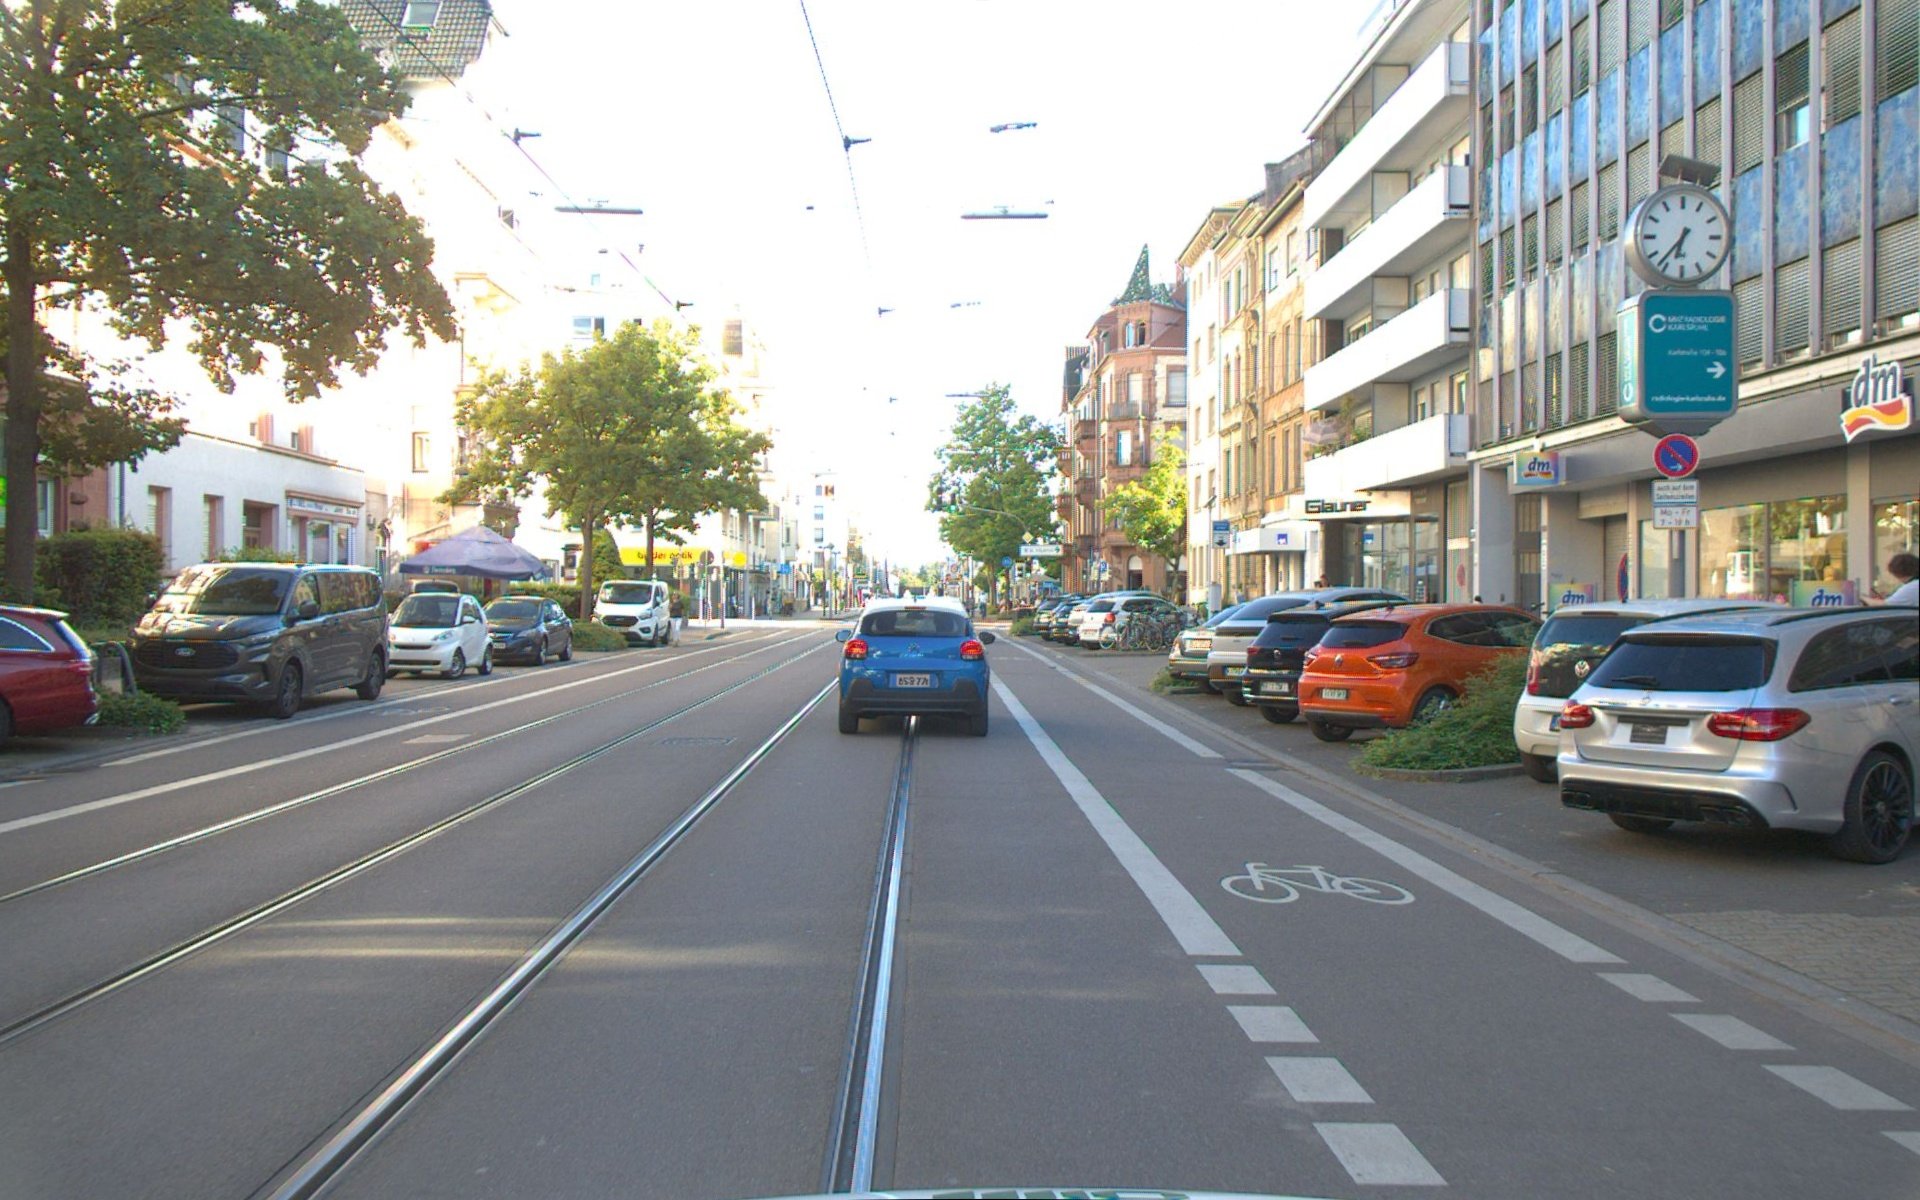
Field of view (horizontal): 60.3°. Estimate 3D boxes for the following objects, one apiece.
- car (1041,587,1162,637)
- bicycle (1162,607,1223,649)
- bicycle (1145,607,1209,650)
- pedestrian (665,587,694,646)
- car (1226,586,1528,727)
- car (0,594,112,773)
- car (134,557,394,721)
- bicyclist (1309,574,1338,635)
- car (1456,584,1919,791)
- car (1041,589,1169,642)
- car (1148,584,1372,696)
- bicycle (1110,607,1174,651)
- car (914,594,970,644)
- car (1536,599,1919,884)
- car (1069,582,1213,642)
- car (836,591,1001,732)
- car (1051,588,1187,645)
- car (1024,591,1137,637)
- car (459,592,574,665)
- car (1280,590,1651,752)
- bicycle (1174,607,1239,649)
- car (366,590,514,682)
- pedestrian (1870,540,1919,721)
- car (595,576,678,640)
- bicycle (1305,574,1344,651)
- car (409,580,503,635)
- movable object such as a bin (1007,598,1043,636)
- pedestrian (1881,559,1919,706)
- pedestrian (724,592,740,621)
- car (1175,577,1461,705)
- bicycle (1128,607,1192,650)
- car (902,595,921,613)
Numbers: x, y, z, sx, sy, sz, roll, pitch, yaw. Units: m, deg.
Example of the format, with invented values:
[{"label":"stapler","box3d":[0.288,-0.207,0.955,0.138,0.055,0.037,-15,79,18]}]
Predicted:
[{"label":"car","box3d":[4.725,0.392,55.294,3.601,1.601,1.850,1,0,-21]},{"label":"bicycle","box3d":[6.048,0.726,43.061,0.464,1.066,1.784,1,0,-37]},{"label":"bicycle","box3d":[5.601,0.728,42.725,0.549,1.066,1.785,1,0,-36]},{"label":"pedestrian","box3d":[-8.545,0.499,50.396,0.720,1.756,0.623,1,-1,-25]},{"label":"car","box3d":[5.152,0.658,20.365,3.409,1.582,1.804,1,0,-33]},{"label":"car","box3d":[-10.216,0.752,15.682,3.672,1.651,1.777,1,0,-23]},{"label":"car","box3d":[-9.479,0.490,23.030,1.713,2.008,5.236,1,0,-4]},{"label":"bicyclist","box3d":[9.941,0.129,45.247,0.717,1.651,0.529,1,-1,4]},{"label":"car","box3d":[6.165,0.662,13.861,3.735,1.513,1.819,1,0,-31]},{"label":"car","box3d":[4.558,0.494,52.118,3.601,1.601,1.850,1,0,-21]},{"label":"car","box3d":[4.797,0.609,26.293,3.417,1.668,1.662,1,0,-38]},{"label":"bicycle","box3d":[4.603,0.725,41.967,0.549,1.066,1.785,1,0,-36]},{"label":"car","box3d":[-0.619,0.624,56.819,1.835,1.624,3.999,1,0,-1]},{"label":"car","box3d":[5.837,0.794,10.735,4.394,1.534,1.520,1,0,-31]},{"label":"car","box3d":[5.045,0.354,46.011,3.615,1.601,1.842,1,0,-30]},{"label":"car","box3d":[-0.476,0.653,19.217,1.727,1.466,3.556,1,0,-1]},{"label":"car","box3d":[4.724,0.494,49.128,3.601,1.601,1.850,1,0,-21]},{"label":"car","box3d":[4.276,0.507,58.670,3.601,1.561,1.778,1,0,-21]},{"label":"car","box3d":[-9.816,0.601,36.864,1.713,1.513,4.038,1,0,-4]},{"label":"car","box3d":[5.442,0.702,17.723,3.686,1.547,1.945,1,0,-34]},{"label":"bicycle","box3d":[6.479,0.739,43.493,0.549,1.066,1.782,1,0,-39]},{"label":"car","box3d":[-9.974,0.659,32.047,1.713,1.646,4.407,1,0,-4]},{"label":"pedestrian","box3d":[9.745,0.307,16.737,0.678,1.786,0.678,1,0,-1]},{"label":"car","box3d":[-9.985,0.253,51.301,1.794,1.880,4.213,1,0,-1]},{"label":"bicycle","box3d":[9.934,0.333,45.168,0.713,2.049,2.359,1,0,5]},{"label":"car","box3d":[-14.270,0.207,46.964,1.600,1.494,3.526,1,0,-1]},{"label":"movable object such as a bin","box3d":[2.671,0.681,67.933,1.366,1.509,1.655,1,0,-1]},{"label":"pedestrian","box3d":[10.828,0.364,18.477,0.678,1.615,0.678,1,0,-1]},{"label":"pedestrian","box3d":[-14.181,0.416,102.944,0.926,1.782,0.699,1,0,-6]},{"label":"car","box3d":[5.113,0.557,23.542,3.686,1.681,2.023,1,0,-34]},{"label":"bicycle","box3d":[5.115,0.717,42.335,0.549,1.066,1.785,1,0,-36]},{"label":"car","box3d":[-3.918,0.307,133.662,1.394,1.457,3.138,1,0,-1]}]
